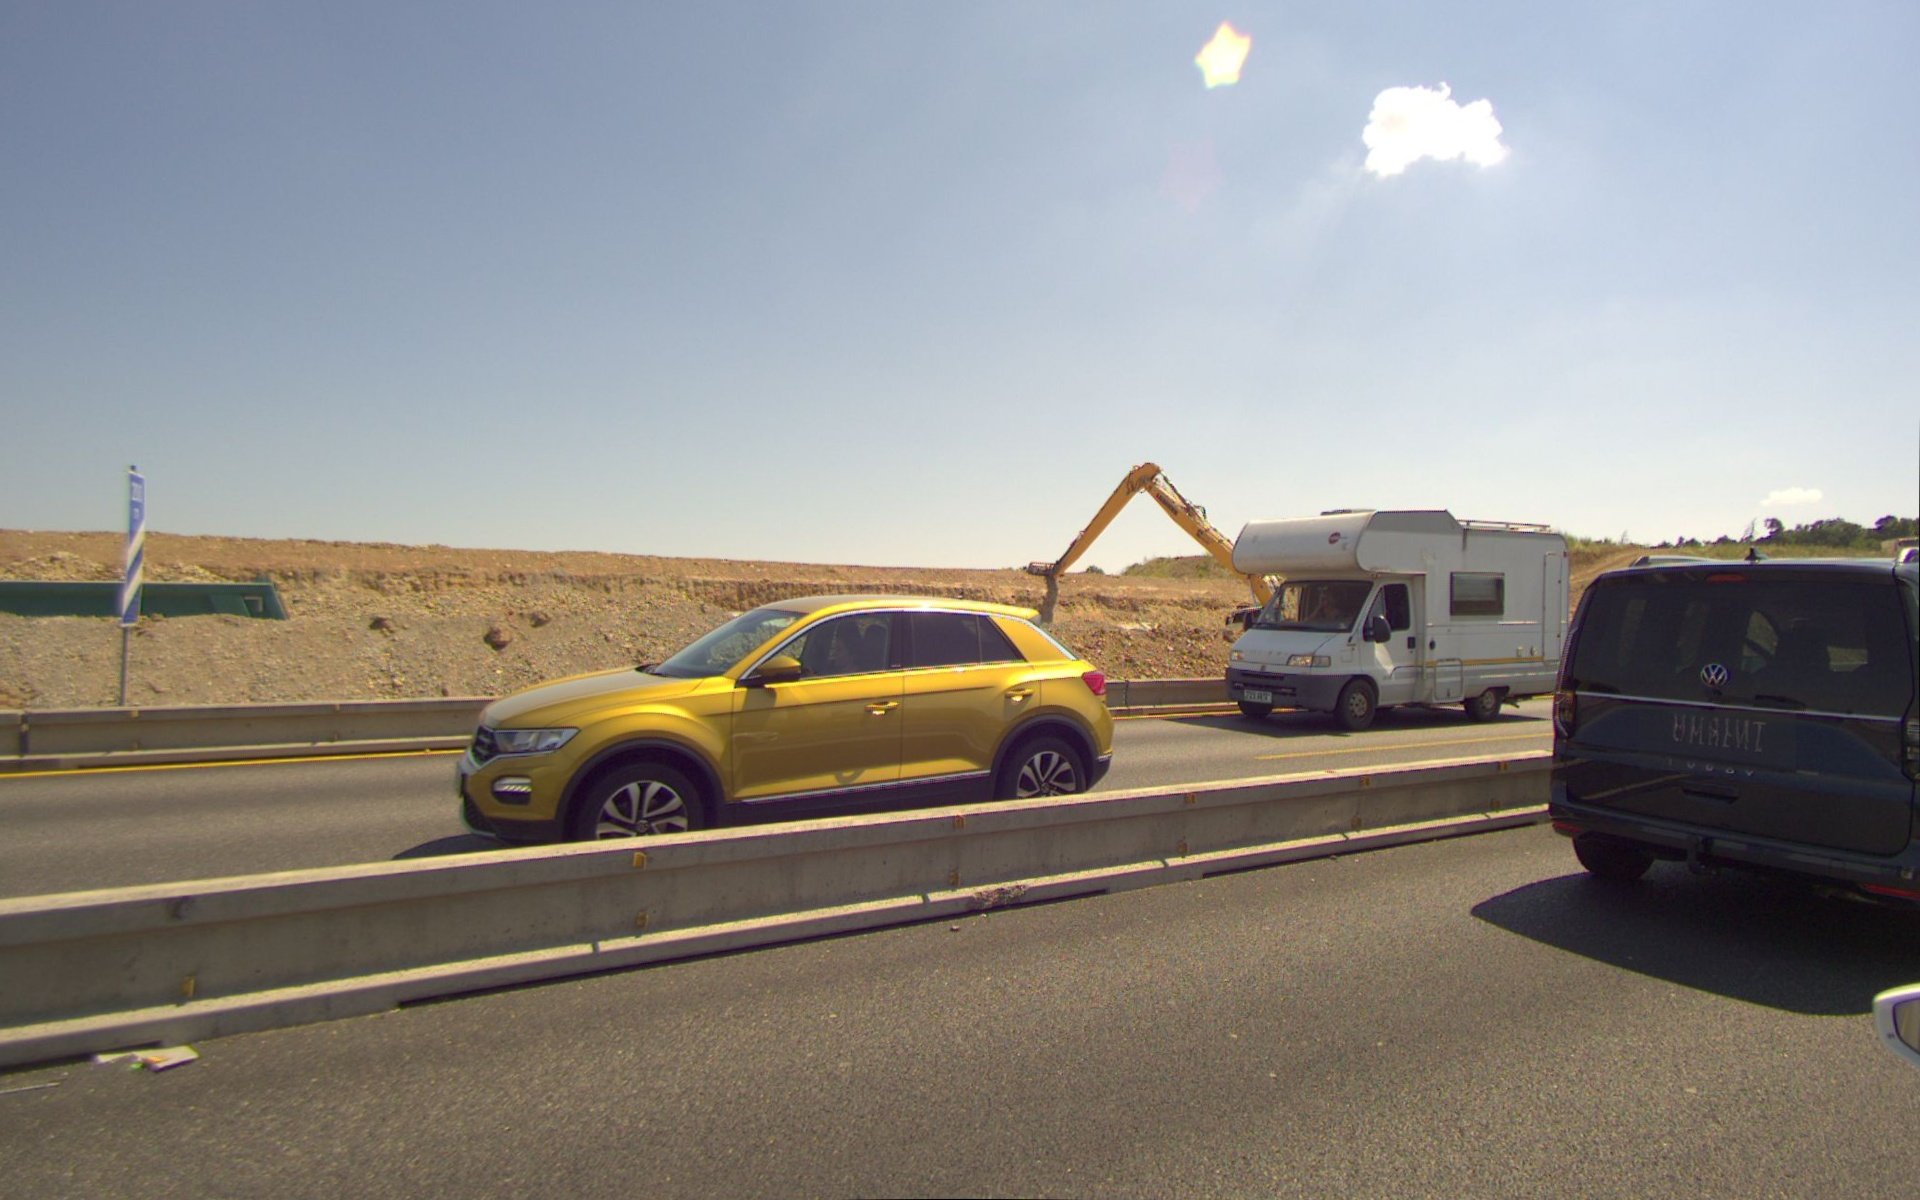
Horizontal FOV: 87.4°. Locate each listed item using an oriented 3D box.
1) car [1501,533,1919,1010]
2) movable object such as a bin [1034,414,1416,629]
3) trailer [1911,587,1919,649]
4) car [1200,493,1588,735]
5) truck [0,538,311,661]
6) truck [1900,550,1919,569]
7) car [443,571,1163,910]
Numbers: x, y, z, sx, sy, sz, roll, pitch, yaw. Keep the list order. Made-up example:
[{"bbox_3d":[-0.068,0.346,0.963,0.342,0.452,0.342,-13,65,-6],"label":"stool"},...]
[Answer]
[{"bbox_3d":[5.372,0.681,5.800,4.726,1.849,1.743,1,1,-30],"label":"car"},{"bbox_3d":[9.494,-2.612,41.122,3.348,6.863,18.137,2,0,-29],"label":"movable object such as a bin"},{"bbox_3d":[66.157,1.252,64.047,2.745,4.152,8.367,2,0,-2],"label":"trailer"},{"bbox_3d":[6.522,0.247,14.867,5.780,2.995,2.240,2,0,-30],"label":"car"},{"bbox_3d":[-16.971,-0.029,18.133,8.706,2.086,2.548,2,0,-32],"label":"truck"},{"bbox_3d":[156.544,-6.572,163.549,2.259,2.785,8.900,2,0,24],"label":"truck"},{"bbox_3d":[-0.921,0.698,6.555,4.309,1.595,1.754,1,0,-29],"label":"car"}]
